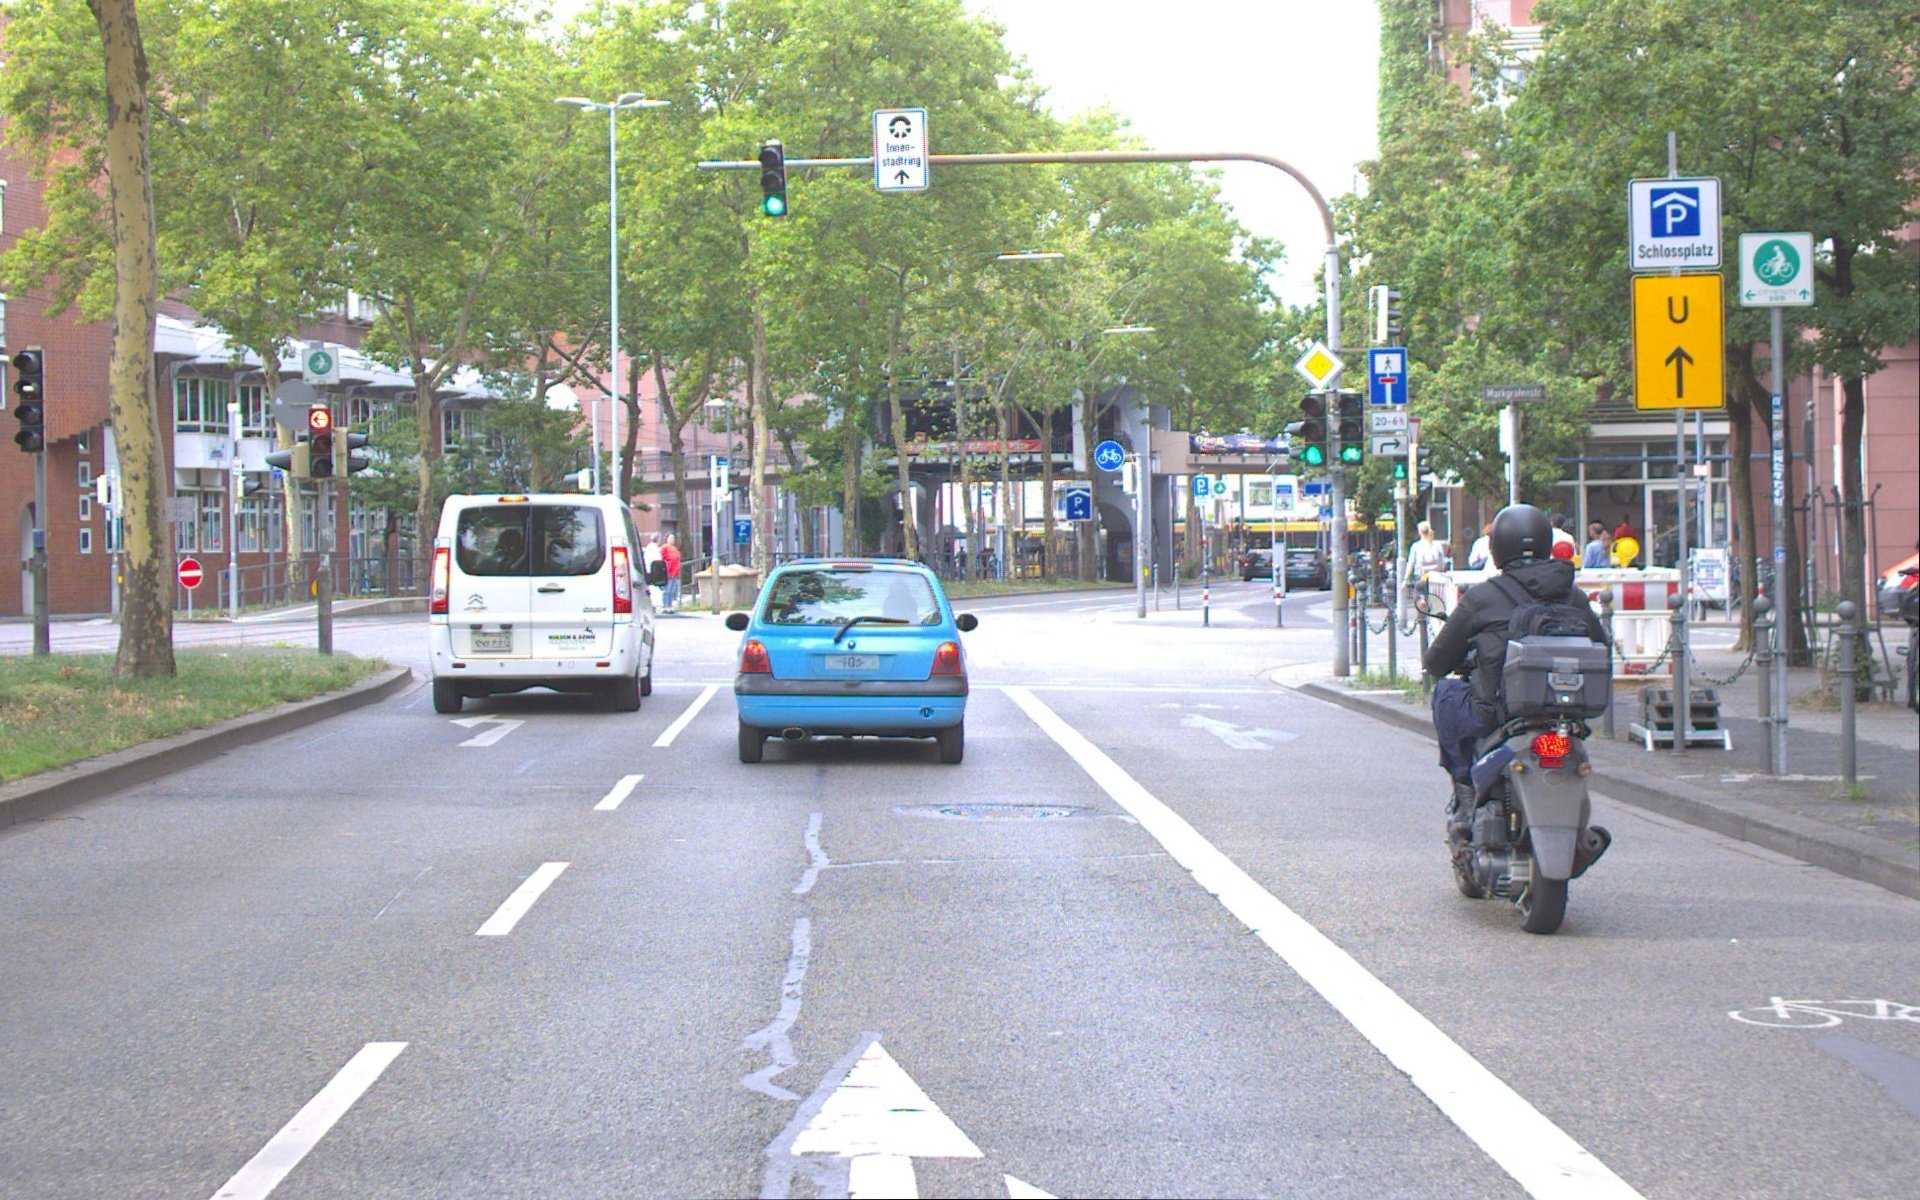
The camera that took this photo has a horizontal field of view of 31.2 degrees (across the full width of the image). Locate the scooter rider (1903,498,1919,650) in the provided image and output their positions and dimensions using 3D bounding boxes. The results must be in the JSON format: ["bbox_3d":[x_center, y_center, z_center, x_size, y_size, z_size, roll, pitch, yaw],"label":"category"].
[{"bbox_3d":[10.020,-0.277,35.426,0.460,1.552,0.565,-1,1,2],"label":"scooter rider"}]

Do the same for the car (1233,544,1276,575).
[{"bbox_3d":[15.980,-2.217,186.470,1.887,1.618,3.998,-1,1,10],"label":"car"}]

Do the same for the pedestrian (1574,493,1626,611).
[{"bbox_3d":[9.331,-0.698,50.145,0.652,1.695,1.022,-1,1,6],"label":"pedestrian"}]

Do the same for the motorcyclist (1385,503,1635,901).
[{"bbox_3d":[2.177,0.386,13.716,0.759,1.514,1.018,-1,0,-2],"label":"motorcyclist"}]

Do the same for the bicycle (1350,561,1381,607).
[{"bbox_3d":[9.171,-0.369,77.815,0.617,1.005,1.735,-1,1,4],"label":"bicycle"}]

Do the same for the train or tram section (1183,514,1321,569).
[{"bbox_3d":[18.059,-3.620,212.053,8.790,3.242,2.397,-1,1,-33],"label":"train or tram section"}]

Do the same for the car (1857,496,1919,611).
[{"bbox_3d":[17.110,-0.754,55.762,4.829,1.819,1.999,-1,-1,11],"label":"car"}]

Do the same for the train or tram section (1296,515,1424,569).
[{"bbox_3d":[25.218,-3.658,216.666,8.333,3.242,2.397,-1,1,-33],"label":"train or tram section"}]

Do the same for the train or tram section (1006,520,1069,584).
[{"bbox_3d":[4.072,-2.509,179.886,2.389,3.242,8.816,-1,1,7],"label":"train or tram section"}]

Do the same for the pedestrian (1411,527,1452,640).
[{"bbox_3d":[6.800,-0.247,49.590,0.517,1.610,0.851,-1,1,4],"label":"pedestrian"}]

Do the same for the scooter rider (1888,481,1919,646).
[{"bbox_3d":[10.038,-0.382,36.015,0.462,1.714,0.553,-1,1,0],"label":"scooter rider"}]

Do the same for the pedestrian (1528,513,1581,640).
[{"bbox_3d":[8.661,-0.346,50.082,0.676,1.822,0.850,-1,1,5],"label":"pedestrian"}]

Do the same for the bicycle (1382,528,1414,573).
[{"bbox_3d":[9.824,-1.113,77.107,0.617,1.005,1.735,-1,1,4],"label":"bicycle"}]

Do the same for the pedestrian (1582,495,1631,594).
[{"bbox_3d":[10.167,-0.879,54.078,0.676,1.533,0.947,-1,1,6],"label":"pedestrian"}]

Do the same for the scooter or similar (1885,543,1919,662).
[{"bbox_3d":[10.037,0.013,35.748,0.473,1.202,1.330,-1,1,1],"label":"scooter or similar"}]

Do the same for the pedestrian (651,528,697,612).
[{"bbox_3d":[-5.886,-0.615,70.779,0.553,1.712,0.889,0,1,25],"label":"pedestrian"}]

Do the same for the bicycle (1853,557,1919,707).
[{"bbox_3d":[7.442,0.230,26.879,0.612,1.114,1.804,-1,1,6],"label":"bicycle"}]

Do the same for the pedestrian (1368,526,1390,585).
[{"bbox_3d":[13.191,-1.400,108.250,0.647,1.852,0.782,-1,1,9],"label":"pedestrian"}]

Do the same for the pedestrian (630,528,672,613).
[{"bbox_3d":[-6.282,-0.607,69.858,0.553,1.712,0.890,-1,1,16],"label":"pedestrian"}]

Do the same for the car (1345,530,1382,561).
[{"bbox_3d":[21.716,-2.928,185.003,1.699,1.596,3.998,-1,1,10],"label":"car"}]

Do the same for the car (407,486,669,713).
[{"bbox_3d":[-3.838,-0.067,32.067,1.931,1.919,4.956,-1,1,-2],"label":"car"}]

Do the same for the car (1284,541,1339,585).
[{"bbox_3d":[13.175,-1.382,128.650,1.699,1.596,3.998,-1,1,10],"label":"car"}]

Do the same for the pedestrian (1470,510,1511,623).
[{"bbox_3d":[7.629,-0.489,49.447,0.517,1.610,0.850,-1,1,5],"label":"pedestrian"}]

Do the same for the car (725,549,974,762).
[{"bbox_3d":[-0.769,0.339,24.745,1.640,1.381,3.843,0,1,-1],"label":"car"}]

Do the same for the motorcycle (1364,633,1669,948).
[{"bbox_3d":[2.187,0.714,13.812,0.767,1.103,2.208,-1,1,-2],"label":"motorcycle"}]
